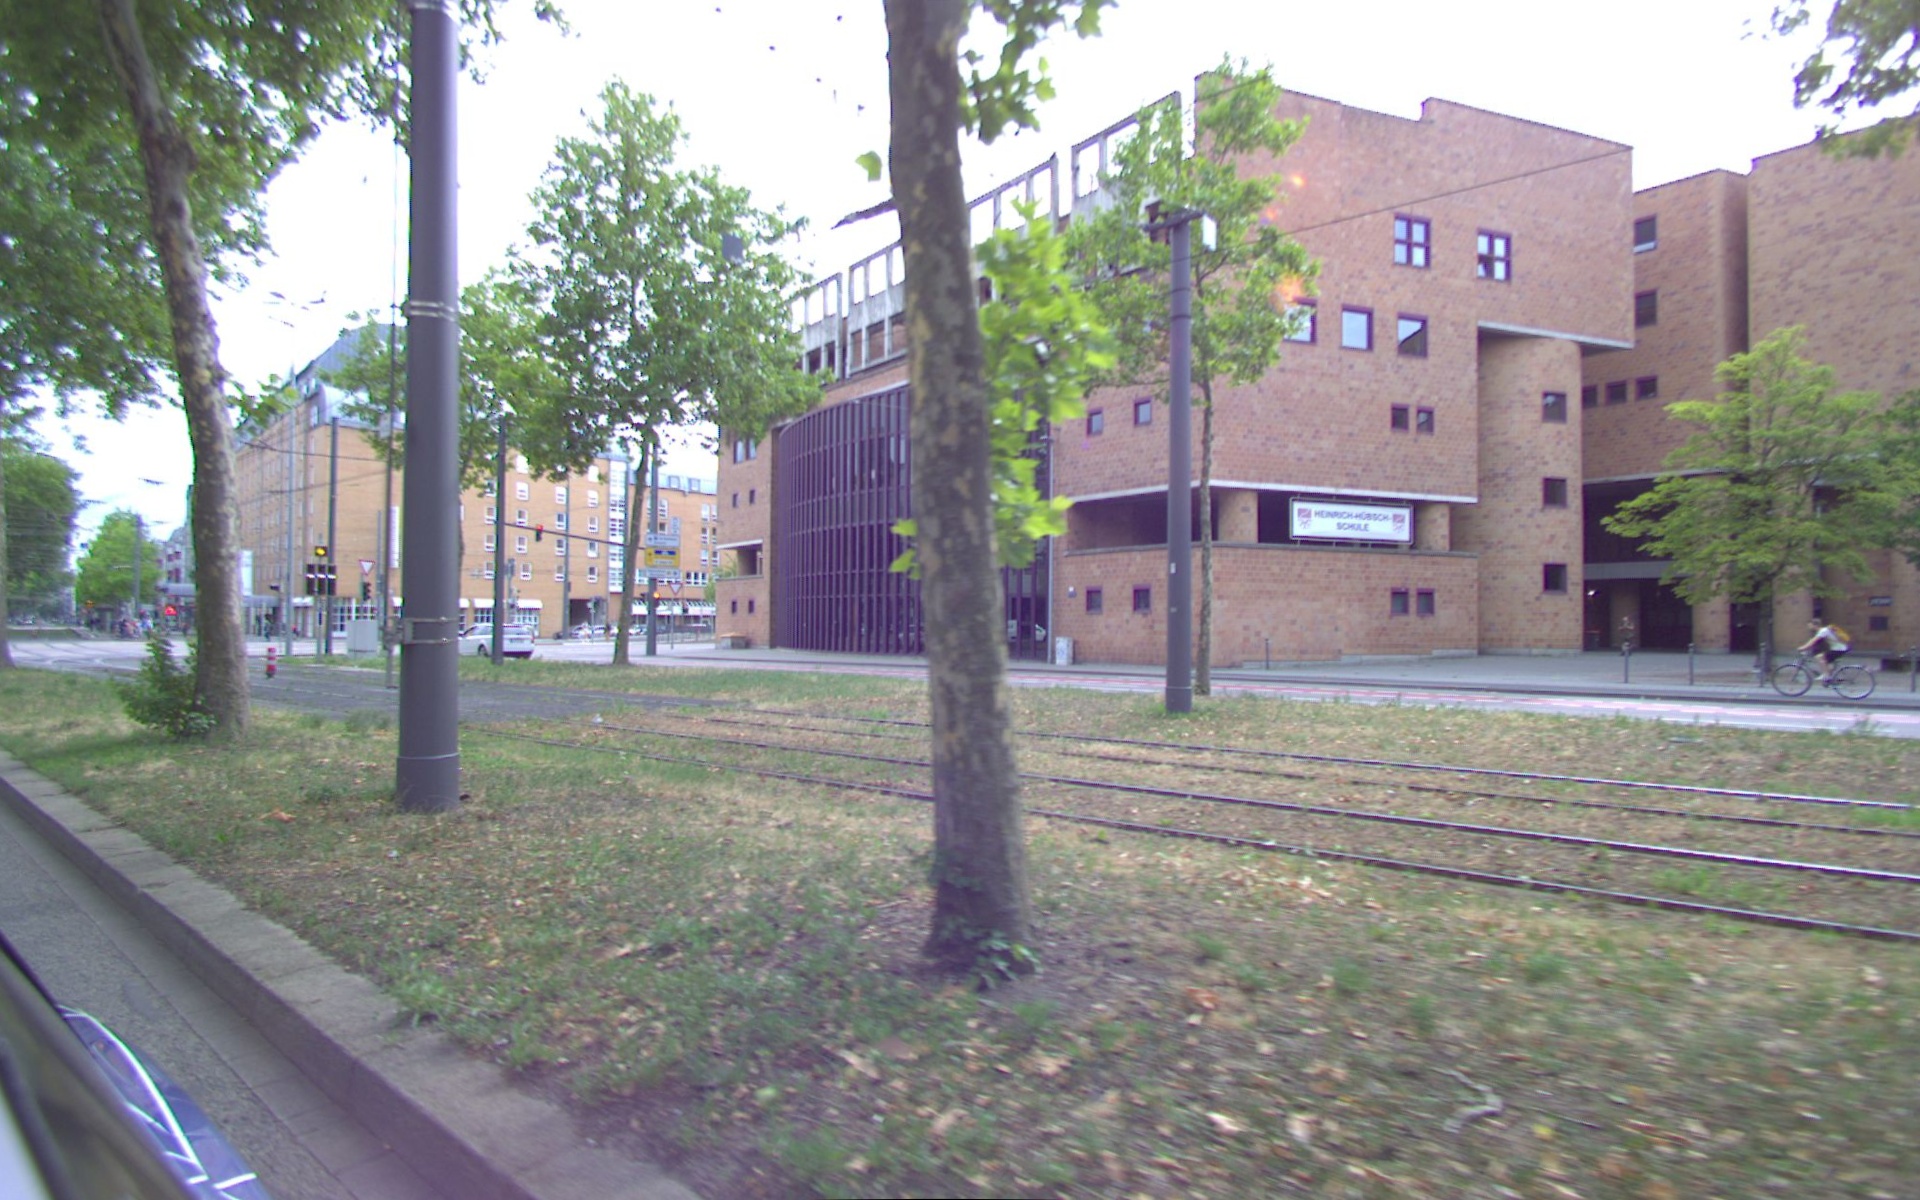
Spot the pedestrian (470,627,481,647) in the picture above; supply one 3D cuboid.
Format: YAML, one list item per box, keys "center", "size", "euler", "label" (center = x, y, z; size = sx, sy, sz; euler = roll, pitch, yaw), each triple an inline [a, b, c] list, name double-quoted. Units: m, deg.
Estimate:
- center: [-44.149, 3.360, 92.262]
  size: [0.749, 1.745, 0.572]
  euler: [0, -2, 34]
  label: "pedestrian"

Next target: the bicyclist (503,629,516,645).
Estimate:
- center: [-42.814, 3.487, 96.153]
  size: [0.636, 1.512, 0.854]
  euler: [0, -2, 39]
  label: "bicyclist"

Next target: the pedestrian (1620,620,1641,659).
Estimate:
- center: [26.631, 1.553, 40.189]
  size: [0.500, 1.543, 0.521]
  euler: [1, -2, -34]
  label: "pedestrian"

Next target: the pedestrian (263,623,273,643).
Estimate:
- center: [-59.726, 2.837, 87.379]
  size: [0.534, 1.719, 0.556]
  euler: [-1, -2, 41]
  label: "pedestrian"

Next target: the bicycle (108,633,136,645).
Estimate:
- center: [-66.356, 3.076, 80.139]
  size: [0.499, 0.895, 1.688]
  euler: [-1, -2, 44]
  label: "bicycle"

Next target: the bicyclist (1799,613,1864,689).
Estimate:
- center: [18.846, 1.082, 21.889]
  size: [0.984, 1.603, 0.656]
  euler: [-2, -2, 44]
  label: "bicyclist"

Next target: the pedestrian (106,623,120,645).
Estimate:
- center: [-68.100, 2.752, 81.389]
  size: [0.533, 1.719, 0.677]
  euler: [0, -2, 33]
  label: "pedestrian"

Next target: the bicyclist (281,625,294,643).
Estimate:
- center: [-57.983, 2.931, 87.249]
  size: [0.851, 1.512, 0.638]
  euler: [2, -2, -36]
  label: "bicyclist"

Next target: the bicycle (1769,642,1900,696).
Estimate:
- center: [18.862, 1.462, 21.869]
  size: [2.094, 1.092, 0.660]
  euler: [-2, -2, 44]
  label: "bicycle"

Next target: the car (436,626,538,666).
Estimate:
- center: [-18.325, 1.744, 39.096]
  size: [4.654, 1.432, 1.765]
  euler: [-1, -2, 40]
  label: "car"

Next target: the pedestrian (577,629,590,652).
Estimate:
- center: [-28.607, 3.103, 76.943]
  size: [0.750, 1.745, 0.571]
  euler: [-1, -2, 39]
  label: "pedestrian"

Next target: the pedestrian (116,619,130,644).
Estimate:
- center: [-66.110, 2.489, 79.924]
  size: [0.534, 1.967, 0.684]
  euler: [-1, -2, 39]
  label: "pedestrian"

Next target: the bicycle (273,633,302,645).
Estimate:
- center: [-57.978, 3.354, 87.253]
  size: [2.026, 1.016, 0.641]
  euler: [2, -2, -36]
  label: "bicycle"
